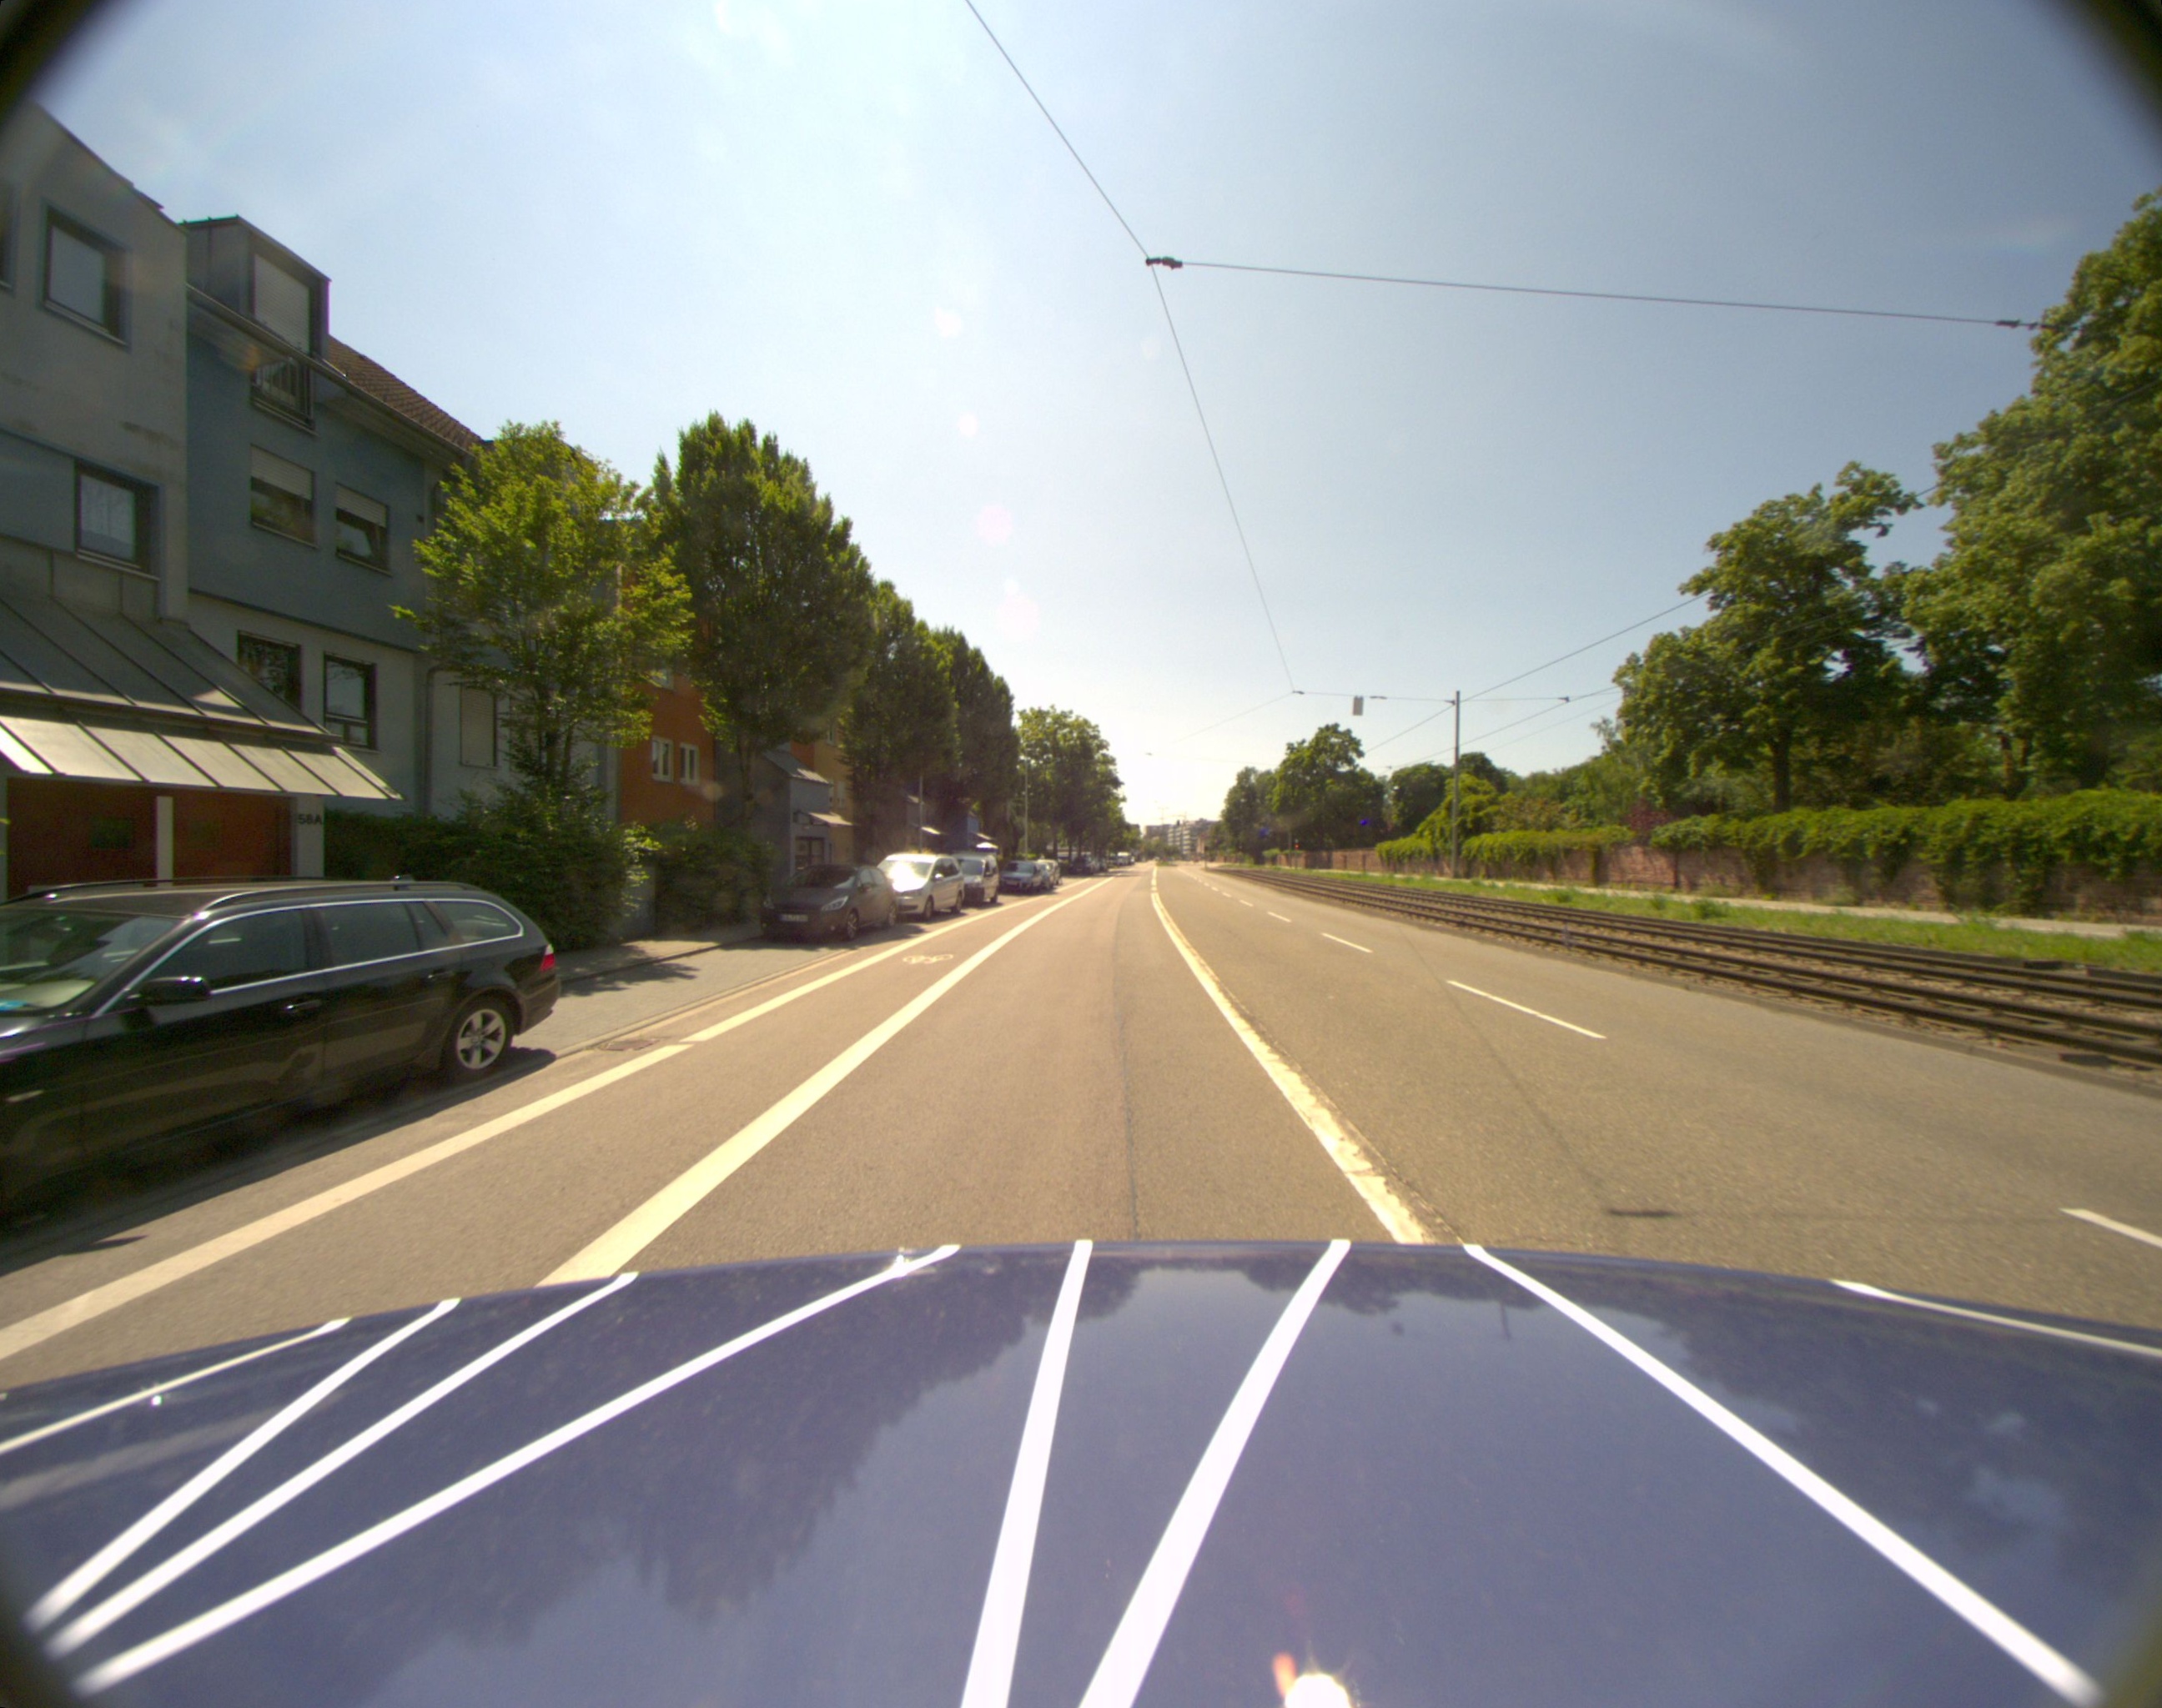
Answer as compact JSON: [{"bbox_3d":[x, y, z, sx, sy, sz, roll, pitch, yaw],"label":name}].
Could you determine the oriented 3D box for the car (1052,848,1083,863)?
[{"bbox_3d":[-2.441,0.269,141.299,5.501,2.445,2.096,-2,0,7],"label":"car"}]

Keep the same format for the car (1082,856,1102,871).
[{"bbox_3d":[1.173,0.991,80.288,1.845,1.520,4.207,3,0,3],"label":"car"}]

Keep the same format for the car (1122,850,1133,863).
[{"bbox_3d":[9.459,0.489,154.184,2.001,2.621,6.081,3,0,6],"label":"car"}]

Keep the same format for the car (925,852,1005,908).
[{"bbox_3d":[-4.071,0.868,27.356,1.844,1.783,4.355,3,0,4],"label":"car"}]

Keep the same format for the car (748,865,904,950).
[{"bbox_3d":[-5.081,0.986,15.762,1.587,1.415,4.181,3,0,3],"label":"car"}]

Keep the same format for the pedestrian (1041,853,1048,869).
[{"bbox_3d":[-4.058,0.780,85.017,0.749,1.712,0.633,0,0,0],"label":"pedestrian"}]

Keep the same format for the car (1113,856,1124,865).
[{"bbox_3d":[6.454,1.039,129.814,1.716,1.410,4.710,3,0,4],"label":"car"}]

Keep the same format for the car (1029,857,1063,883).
[{"bbox_3d":[-2.140,0.978,47.315,1.522,1.520,3.818,3,0,6],"label":"car"}]

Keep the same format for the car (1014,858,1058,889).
[{"bbox_3d":[-2.425,1.034,42.212,1.845,1.520,4.967,3,0,3],"label":"car"}]

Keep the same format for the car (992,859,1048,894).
[{"bbox_3d":[-2.938,1.053,37.296,1.844,1.520,4.218,3,0,7],"label":"car"}]

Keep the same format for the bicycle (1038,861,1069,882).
[{"bbox_3d":[-1.785,1.117,49.330,1.776,1.221,0.684,5,1,10],"label":"bicycle"}]

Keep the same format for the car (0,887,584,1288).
[{"bbox_3d":[-5.391,1.070,4.276,1.711,1.484,5.039,3,0,2],"label":"car"}]

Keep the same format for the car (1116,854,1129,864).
[{"bbox_3d":[7.685,0.942,140.601,2.001,1.867,5.279,3,0,8],"label":"car"}]

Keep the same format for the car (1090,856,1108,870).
[{"bbox_3d":[2.078,1.035,86.115,1.844,1.427,4.826,3,0,4],"label":"car"}]

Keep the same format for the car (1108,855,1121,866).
[{"bbox_3d":[5.219,0.959,117.810,1.715,1.623,4.710,3,1,6],"label":"car"}]

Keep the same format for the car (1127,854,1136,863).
[{"bbox_3d":[11.817,1.101,176.841,1.883,1.905,5.127,3,0,7],"label":"car"}]

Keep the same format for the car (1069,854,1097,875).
[{"bbox_3d":[0.219,0.927,68.854,1.844,1.696,4.629,3,0,7],"label":"car"}]

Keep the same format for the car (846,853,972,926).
[{"bbox_3d":[-4.538,0.881,20.865,1.844,1.684,4.781,3,0,6],"label":"car"}]

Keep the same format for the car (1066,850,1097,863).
[{"bbox_3d":[0.066,0.592,165.841,6.352,2.514,2.265,-2,0,9],"label":"car"}]
